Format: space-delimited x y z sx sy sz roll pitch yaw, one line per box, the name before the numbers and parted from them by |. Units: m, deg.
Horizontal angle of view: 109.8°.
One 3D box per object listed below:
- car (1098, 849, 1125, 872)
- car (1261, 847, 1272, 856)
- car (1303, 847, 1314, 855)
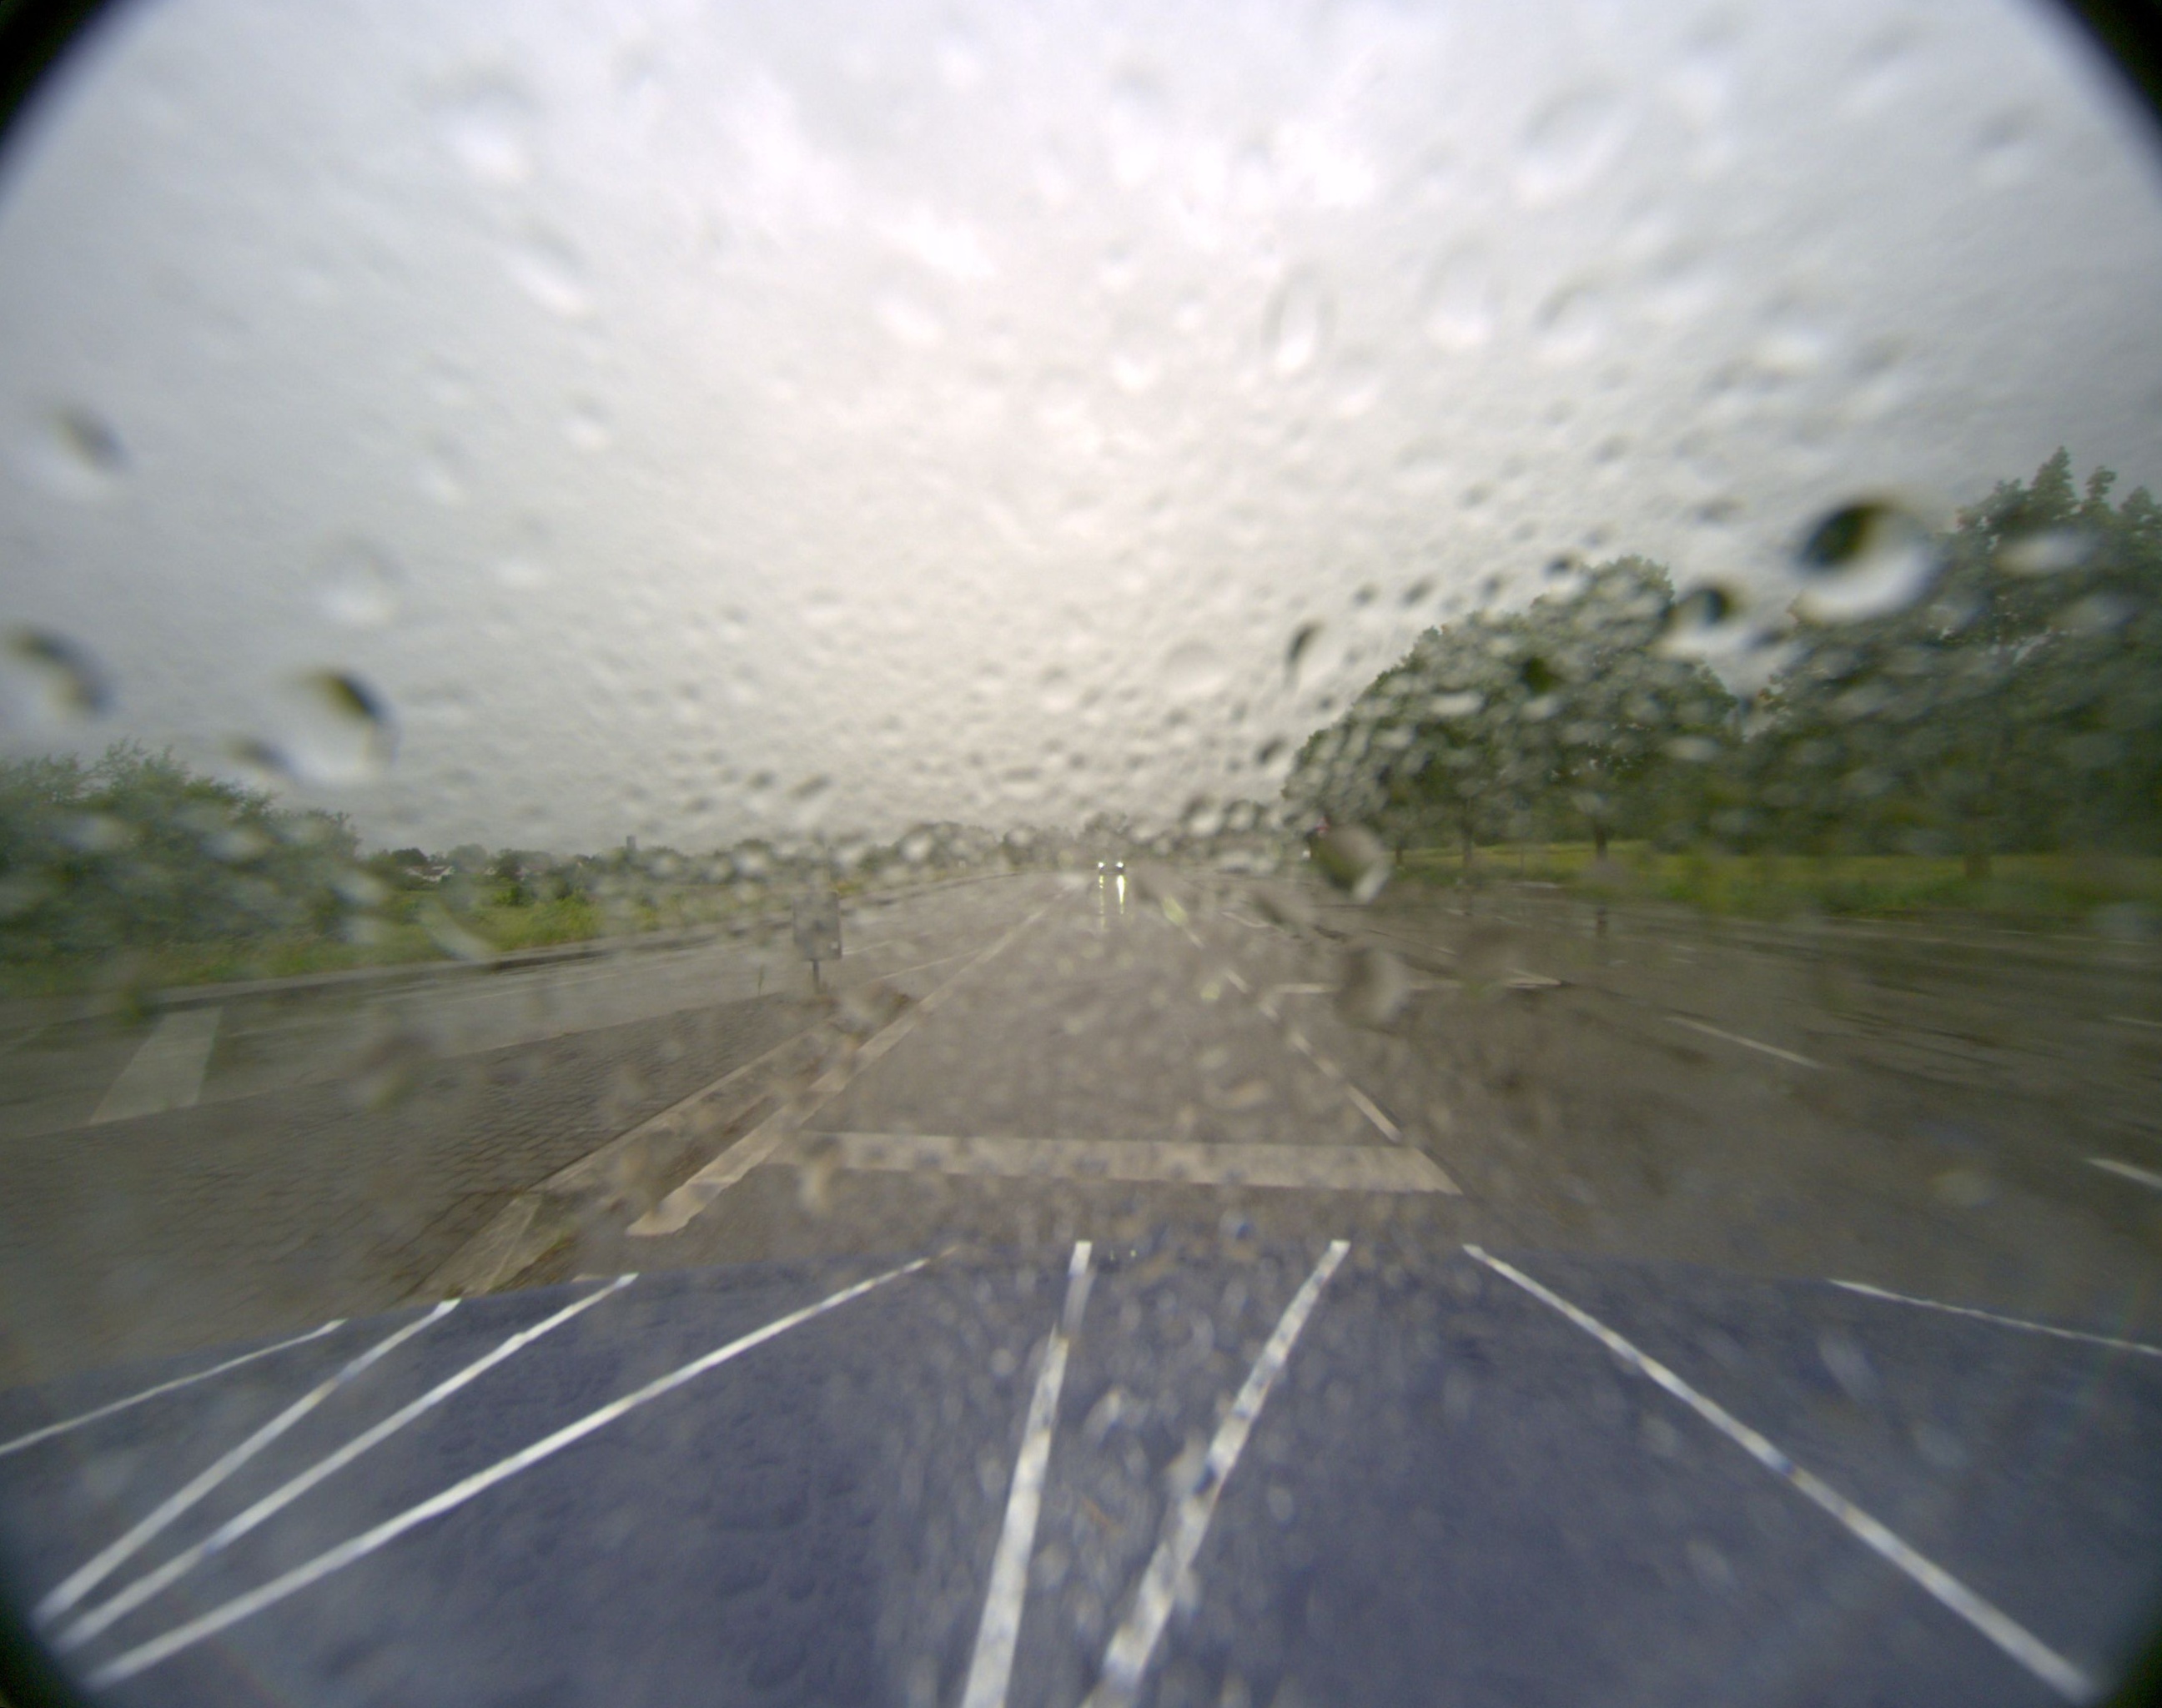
car | 2.277 0.459 56.859 1.916 1.576 4.103 -2 1 2
car | 37.991 -0.563 155.529 1.914 1.678 4.108 -2 1 17
car | 55.342 -0.787 184.974 2.108 1.881 4.797 -2 1 21
